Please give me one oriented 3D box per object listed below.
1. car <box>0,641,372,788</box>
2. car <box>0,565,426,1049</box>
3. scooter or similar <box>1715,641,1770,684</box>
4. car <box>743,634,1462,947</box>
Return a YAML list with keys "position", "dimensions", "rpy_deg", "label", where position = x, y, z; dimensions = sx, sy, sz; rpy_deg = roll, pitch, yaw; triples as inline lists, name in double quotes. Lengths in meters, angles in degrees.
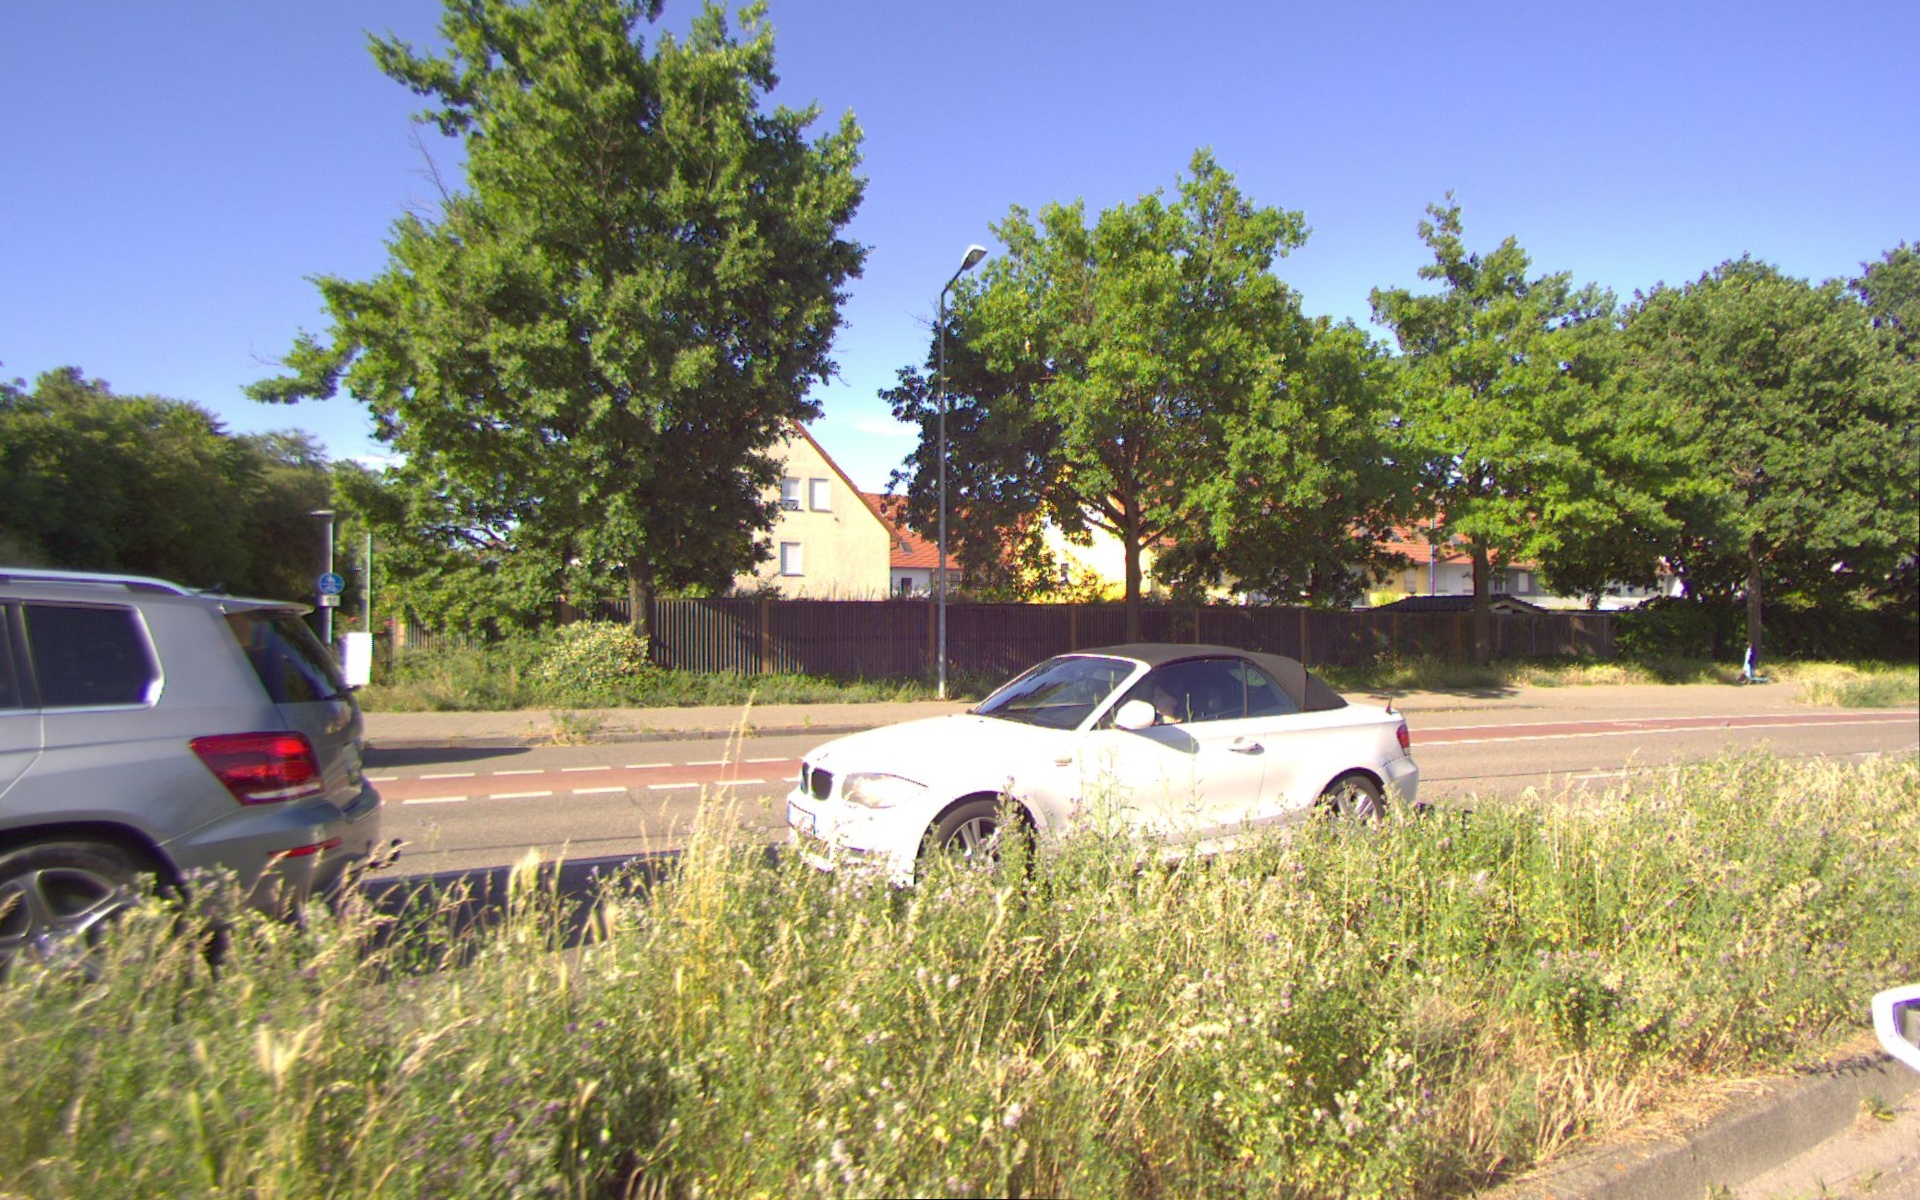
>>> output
- position: [-8.963, 1.193, 11.074]
  dimensions: [3.936, 1.449, 1.709]
  rpy_deg: [1, -3, -17]
  label: "car"
- position: [-4.635, 0.713, 3.835]
  dimensions: [4.470, 1.637, 1.987]
  rpy_deg: [1, -2, -26]
  label: "car"
- position: [23.317, 1.855, 29.948]
  dimensions: [1.389, 1.235, 0.539]
  rpy_deg: [0, 1, -13]
  label: "scooter or similar"
- position: [0.954, 0.959, 6.609]
  dimensions: [4.341, 1.469, 1.987]
  rpy_deg: [1, -2, -26]
  label: "car"
